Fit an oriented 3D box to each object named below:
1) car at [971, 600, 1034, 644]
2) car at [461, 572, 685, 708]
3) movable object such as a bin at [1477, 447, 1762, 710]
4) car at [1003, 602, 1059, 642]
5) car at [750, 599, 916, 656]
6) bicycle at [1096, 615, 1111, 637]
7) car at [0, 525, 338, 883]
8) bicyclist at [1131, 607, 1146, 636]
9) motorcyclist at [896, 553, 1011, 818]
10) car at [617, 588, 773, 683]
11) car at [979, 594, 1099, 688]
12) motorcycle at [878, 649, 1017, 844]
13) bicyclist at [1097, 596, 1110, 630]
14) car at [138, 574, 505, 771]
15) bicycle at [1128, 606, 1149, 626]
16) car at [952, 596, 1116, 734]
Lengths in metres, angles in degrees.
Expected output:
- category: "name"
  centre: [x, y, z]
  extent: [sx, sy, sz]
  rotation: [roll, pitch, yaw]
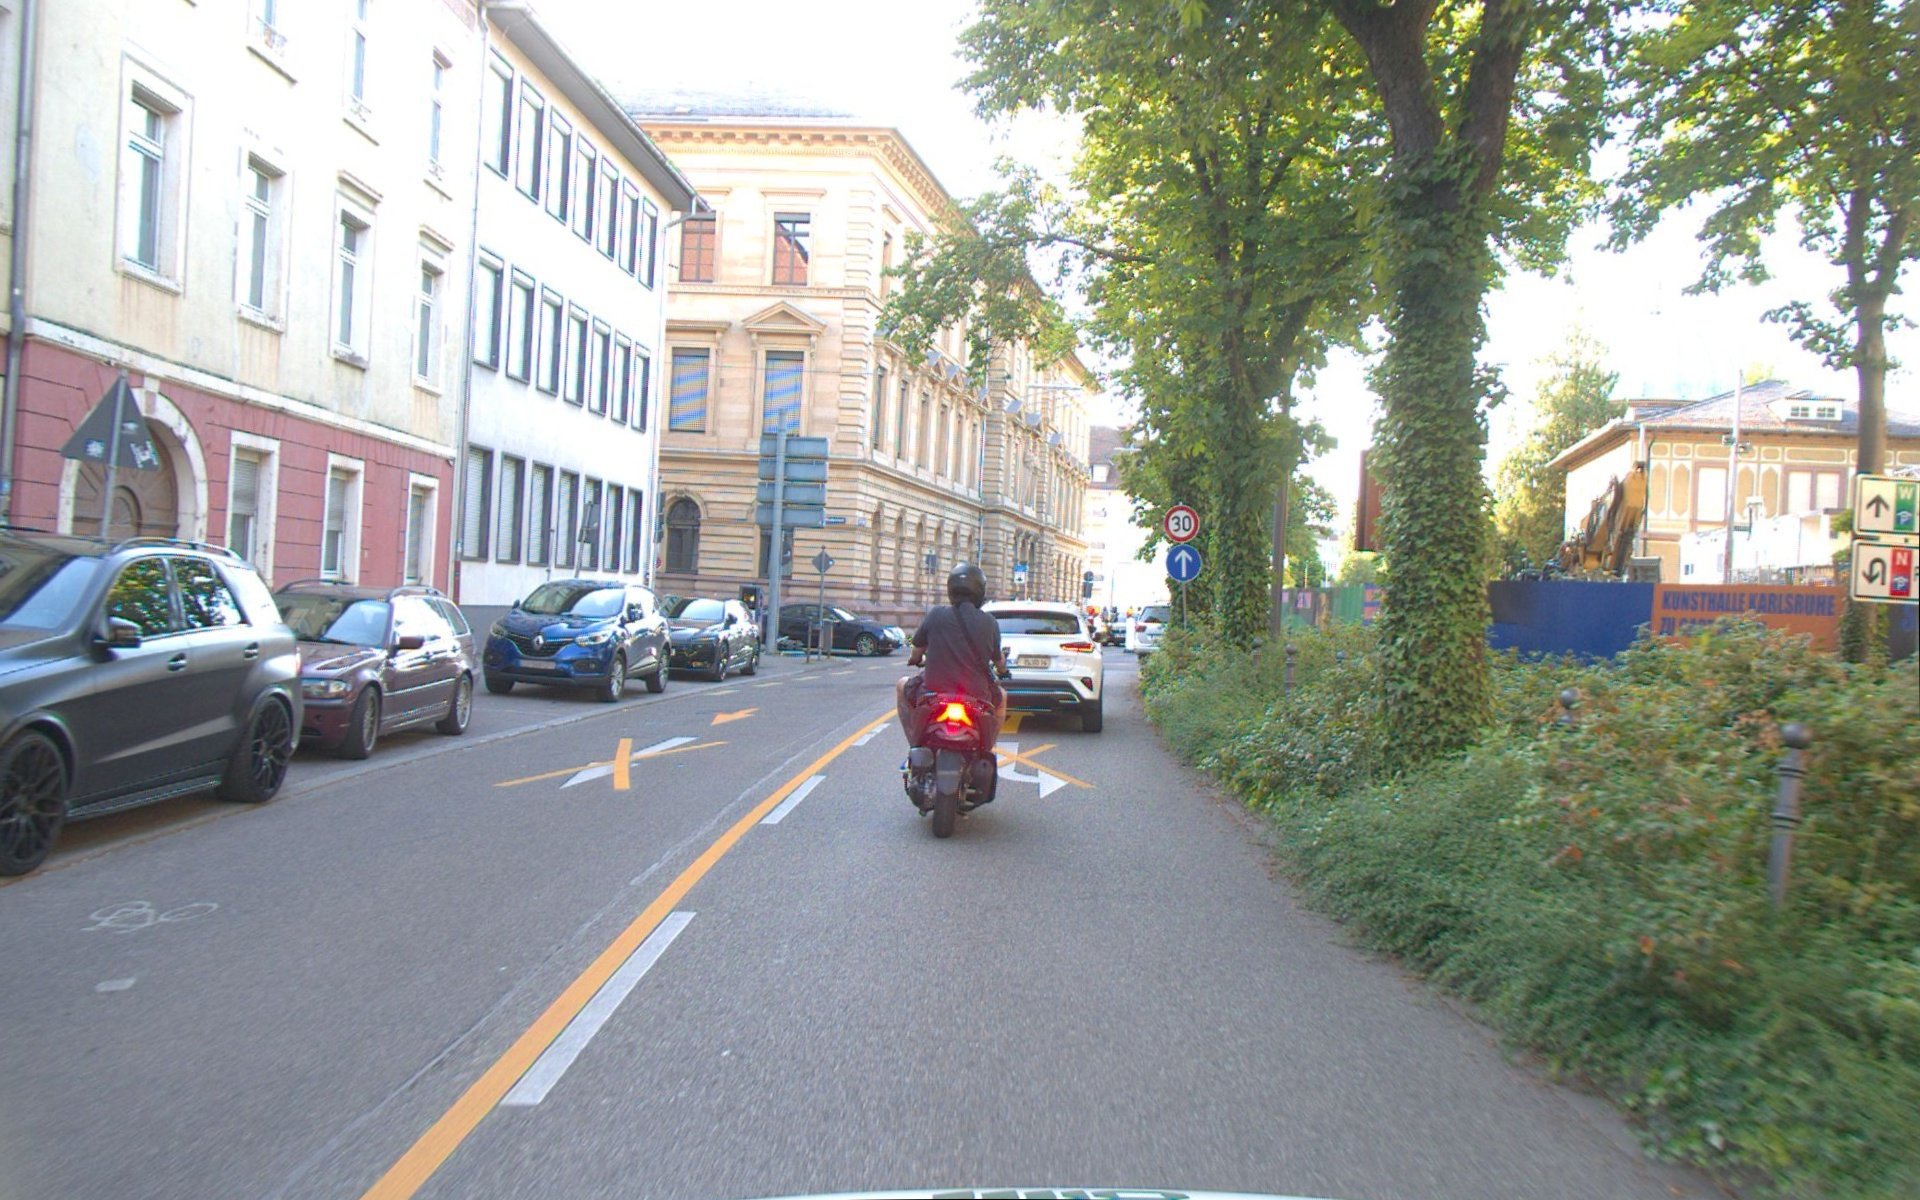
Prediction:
- category: "car"
  centre: [1.680, 0.823, 64.147]
  extent: [1.951, 1.594, 4.292]
  rotation: [2, 0, 8]
- category: "car"
  centre: [-5.423, 0.524, 23.785]
  extent: [1.893, 1.696, 4.349]
  rotation: [2, 0, 4]
- category: "movable object such as a bin"
  centre: [13.073, -0.386, 33.659]
  extent: [3.237, 4.618, 7.910]
  rotation: [2, 0, 6]
- category: "car"
  centre: [3.030, 0.922, 69.869]
  extent: [1.951, 1.555, 4.187]
  rotation: [2, 0, 8]
- category: "car"
  centre: [-3.497, 0.756, 45.836]
  extent: [4.221, 1.414, 1.777]
  rotation: [2, 0, 13]
- category: "bicycle"
  centre: [7.202, 1.298, 83.069]
  extent: [0.570, 1.053, 2.130]
  rotation: [2, 0, 9]
- category: "car"
  centre: [-5.499, 0.463, 9.630]
  extent: [1.883, 1.709, 4.785]
  rotation: [2, 0, 0]
- category: "bicyclist"
  centre: [9.837, 1.166, 91.239]
  extent: [0.615, 1.581, 0.732]
  rotation: [2, 0, 23]
- category: "motorcyclist"
  centre: [-0.032, 0.553, 11.047]
  extent: [0.643, 1.679, 0.651]
  rotation: [4, 0, 2]
- category: "car"
  centre: [-4.852, 0.616, 30.920]
  extent: [1.786, 1.529, 4.762]
  rotation: [4, 0, 4]
- category: "car"
  centre: [1.508, 0.716, 30.261]
  extent: [1.801, 1.489, 4.060]
  rotation: [4, 0, 7]
- category: "motorcycle"
  centre: [-0.053, 0.911, 10.877]
  extent: [0.780, 1.084, 1.725]
  rotation: [4, 0, 2]
- category: "bicyclist"
  centre: [7.217, 0.648, 83.119]
  extent: [0.554, 1.696, 0.835]
  rotation: [2, 0, 10]
- category: "car"
  centre: [-5.674, 0.577, 15.338]
  extent: [1.619, 1.506, 4.428]
  rotation: [2, 0, 0]
- category: "bicycle"
  centre: [9.848, 0.894, 91.127]
  extent: [0.522, 1.053, 2.035]
  rotation: [2, 0, 23]
- category: "car"
  centre: [0.938, 0.725, 20.483]
  extent: [1.812, 1.506, 4.059]
  rotation: [1, 0, 3]
